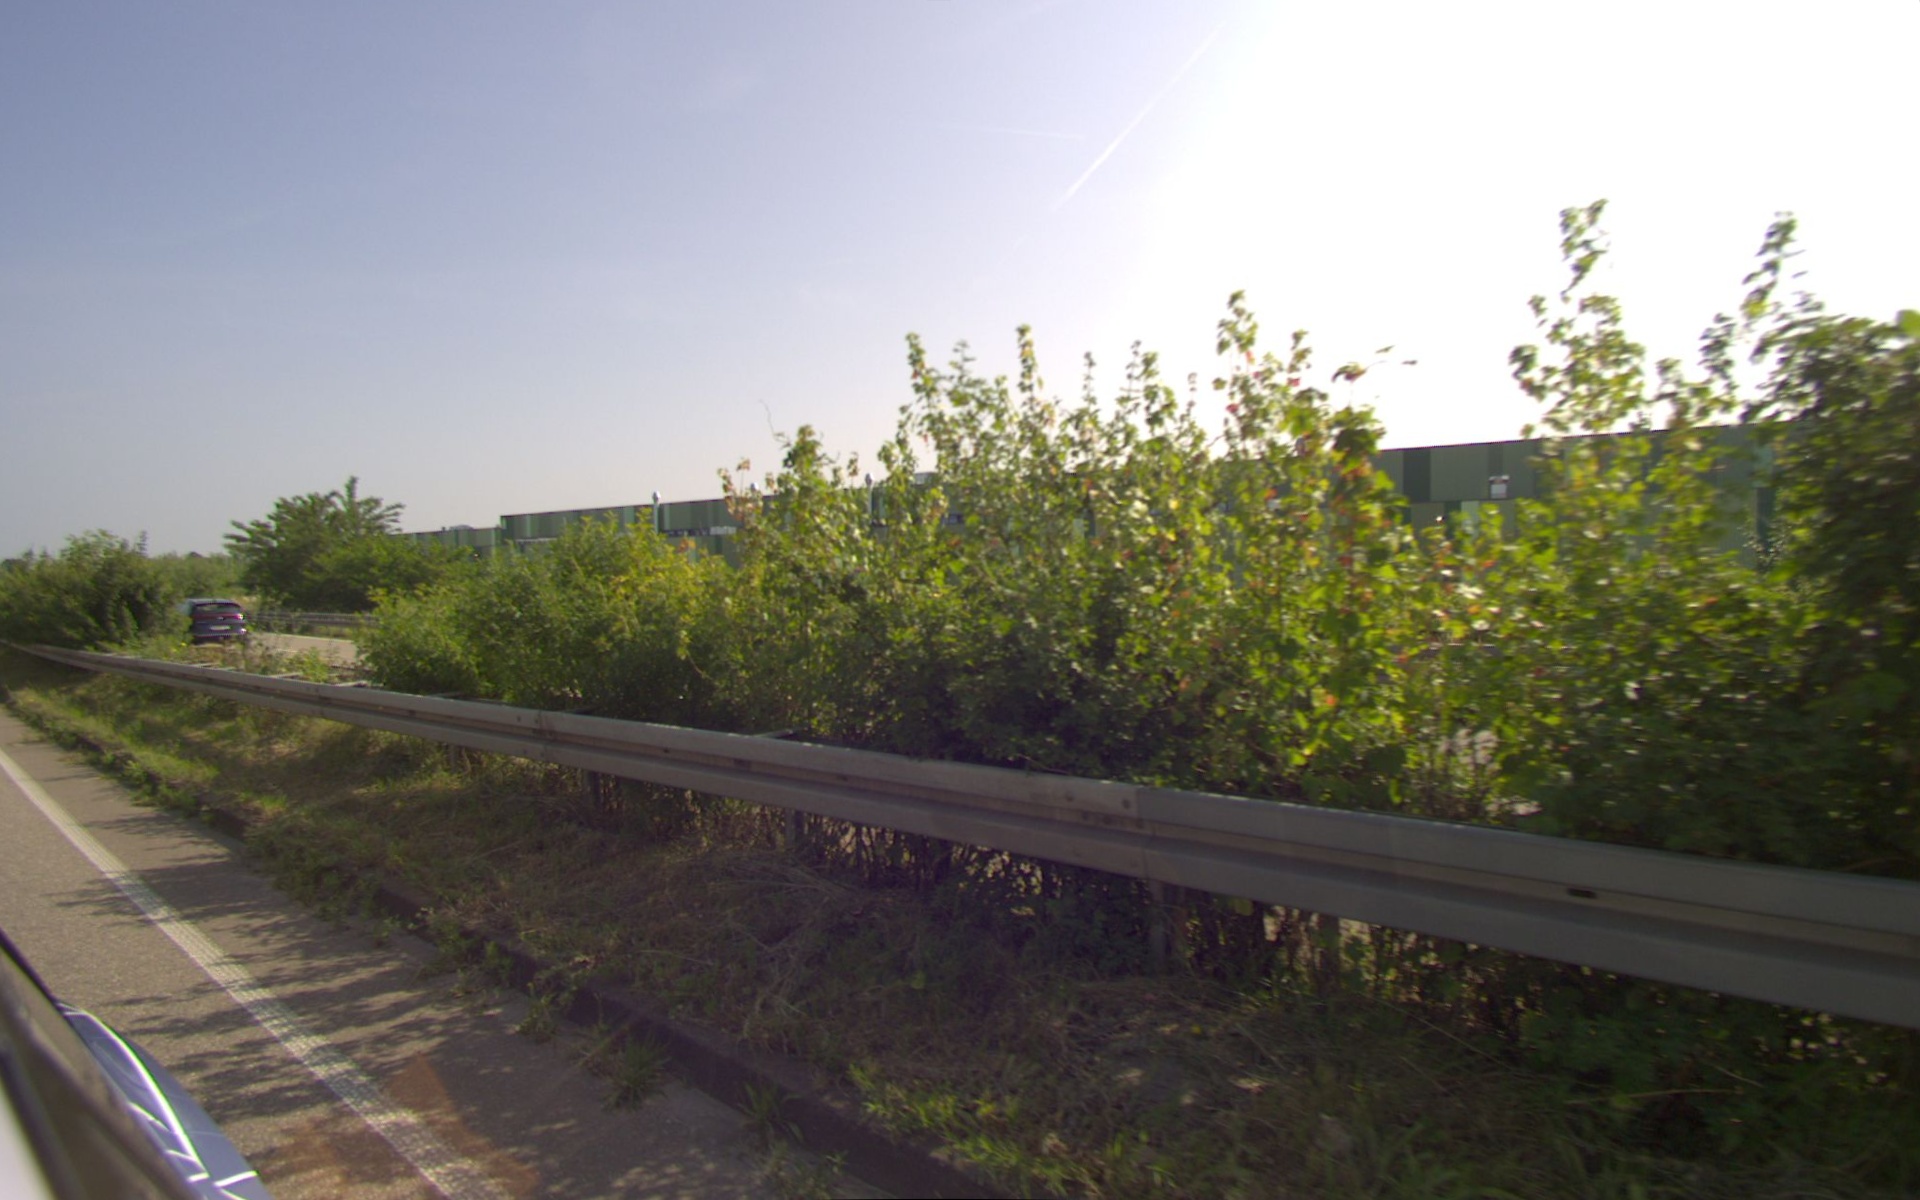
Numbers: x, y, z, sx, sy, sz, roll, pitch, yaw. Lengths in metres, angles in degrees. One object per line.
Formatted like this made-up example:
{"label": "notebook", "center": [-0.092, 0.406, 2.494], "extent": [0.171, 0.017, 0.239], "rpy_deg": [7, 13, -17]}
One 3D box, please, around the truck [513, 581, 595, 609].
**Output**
{"label": "truck", "center": [-46.508, -0.555, 115.746], "extent": [11.504, 3.074, 2.927], "rpy_deg": [0, 0, 35]}

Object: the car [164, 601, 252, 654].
{"label": "car", "center": [-24.394, 0.869, 32.766], "extent": [4.321, 1.634, 1.575], "rpy_deg": [-1, -1, 43]}
